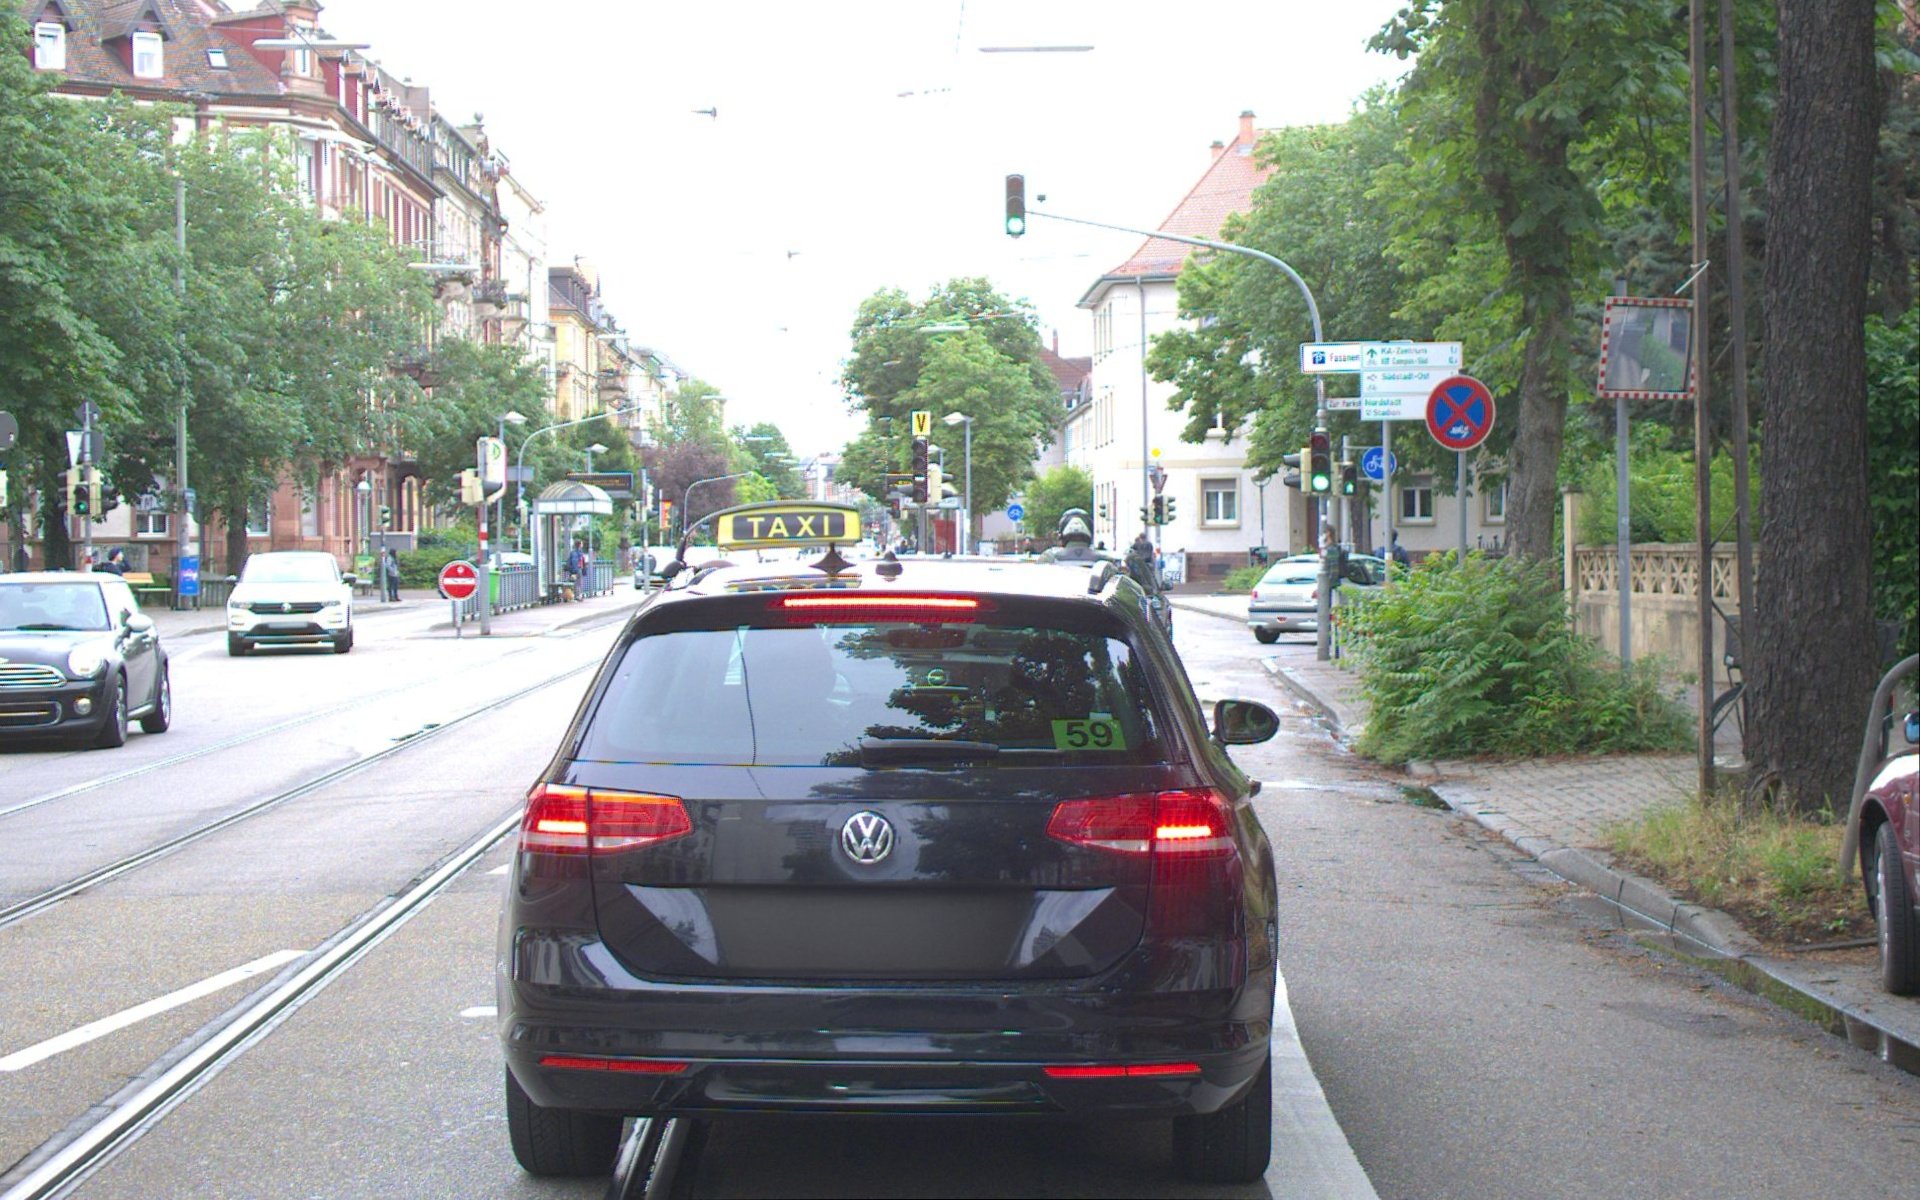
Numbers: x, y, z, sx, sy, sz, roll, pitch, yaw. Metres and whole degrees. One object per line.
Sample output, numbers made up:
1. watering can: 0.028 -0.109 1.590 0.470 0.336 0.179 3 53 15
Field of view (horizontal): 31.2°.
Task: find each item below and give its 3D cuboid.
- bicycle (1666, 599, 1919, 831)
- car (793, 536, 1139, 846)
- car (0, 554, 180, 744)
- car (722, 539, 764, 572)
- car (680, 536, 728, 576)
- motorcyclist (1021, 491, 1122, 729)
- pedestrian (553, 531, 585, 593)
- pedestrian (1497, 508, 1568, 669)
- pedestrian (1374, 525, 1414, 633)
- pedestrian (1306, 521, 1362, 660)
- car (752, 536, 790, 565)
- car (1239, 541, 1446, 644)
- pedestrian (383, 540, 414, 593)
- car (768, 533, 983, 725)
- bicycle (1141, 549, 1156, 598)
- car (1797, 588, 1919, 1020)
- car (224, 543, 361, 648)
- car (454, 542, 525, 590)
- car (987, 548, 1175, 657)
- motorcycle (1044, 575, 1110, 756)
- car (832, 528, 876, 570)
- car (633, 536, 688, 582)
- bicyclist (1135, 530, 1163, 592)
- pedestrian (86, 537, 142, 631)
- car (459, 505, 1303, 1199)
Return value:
1. bicycle: 4.520 0.594 18.536 0.433 1.194 1.899 0 0 44
2. car: -0.007 0.419 19.140 1.723 1.541 4.000 0 1 -1
3. car: -7.488 0.367 28.121 1.608 1.417 3.487 -2 1 -4
4. car: -9.778 -2.015 154.957 1.721 1.460 3.864 0 1 -1
5. car: -10.295 -1.785 138.376 1.721 1.617 3.864 0 1 -1
6. motorcyclist: 0.812 0.066 24.903 0.703 1.686 0.804 -1 1 2
7. pedestrian: -9.682 -0.938 85.075 0.714 1.515 0.590 0 1 1
8. pedestrian: 6.521 -0.133 39.179 0.632 1.808 0.726 -1 1 -3
9. pedestrian: 7.485 -0.371 59.292 0.514 1.824 0.417 -3 1 16
10. pedestrian: 5.050 -0.134 46.430 0.585 1.824 0.604 -3 1 0
11. car: -10.619 -2.772 193.133 1.795 1.590 4.000 0 1 2
12. car: 6.168 -0.129 55.077 1.996 1.572 3.994 1 0 27
13. pedestrian: -16.199 -0.964 99.227 0.589 1.515 0.648 0 1 35
14. car: -0.717 0.196 29.563 1.723 1.541 4.000 0 1 -1
15. bicycle: 4.788 -0.668 87.298 0.297 1.219 1.430 -1 1 6
16. car: 3.979 0.681 10.690 1.602 1.394 4.228 -2 1 -1
17. car: -10.153 -0.100 52.513 1.698 1.491 3.931 -2 1 -6
18. car: -16.398 -1.201 120.064 1.993 1.590 4.000 -1 1 -1
19. car: 1.733 0.010 47.828 1.893 1.403 3.998 -1 1 13
20. motorcycle: 0.849 0.450 24.877 0.446 1.231 1.907 -1 1 2
21. car: -5.134 -2.464 166.750 2.033 2.007 4.000 1 0 -1
22. car: -10.722 -1.494 123.175 1.721 1.617 3.864 0 1 -1
23. bicyclist: 4.807 -0.990 87.331 0.651 1.563 0.695 -1 1 6
24. pedestrian: -15.085 -0.289 61.331 0.836 1.657 0.591 0 1 1
25. car: -0.198 0.538 9.032 1.723 1.541 4.000 0 1 -1
